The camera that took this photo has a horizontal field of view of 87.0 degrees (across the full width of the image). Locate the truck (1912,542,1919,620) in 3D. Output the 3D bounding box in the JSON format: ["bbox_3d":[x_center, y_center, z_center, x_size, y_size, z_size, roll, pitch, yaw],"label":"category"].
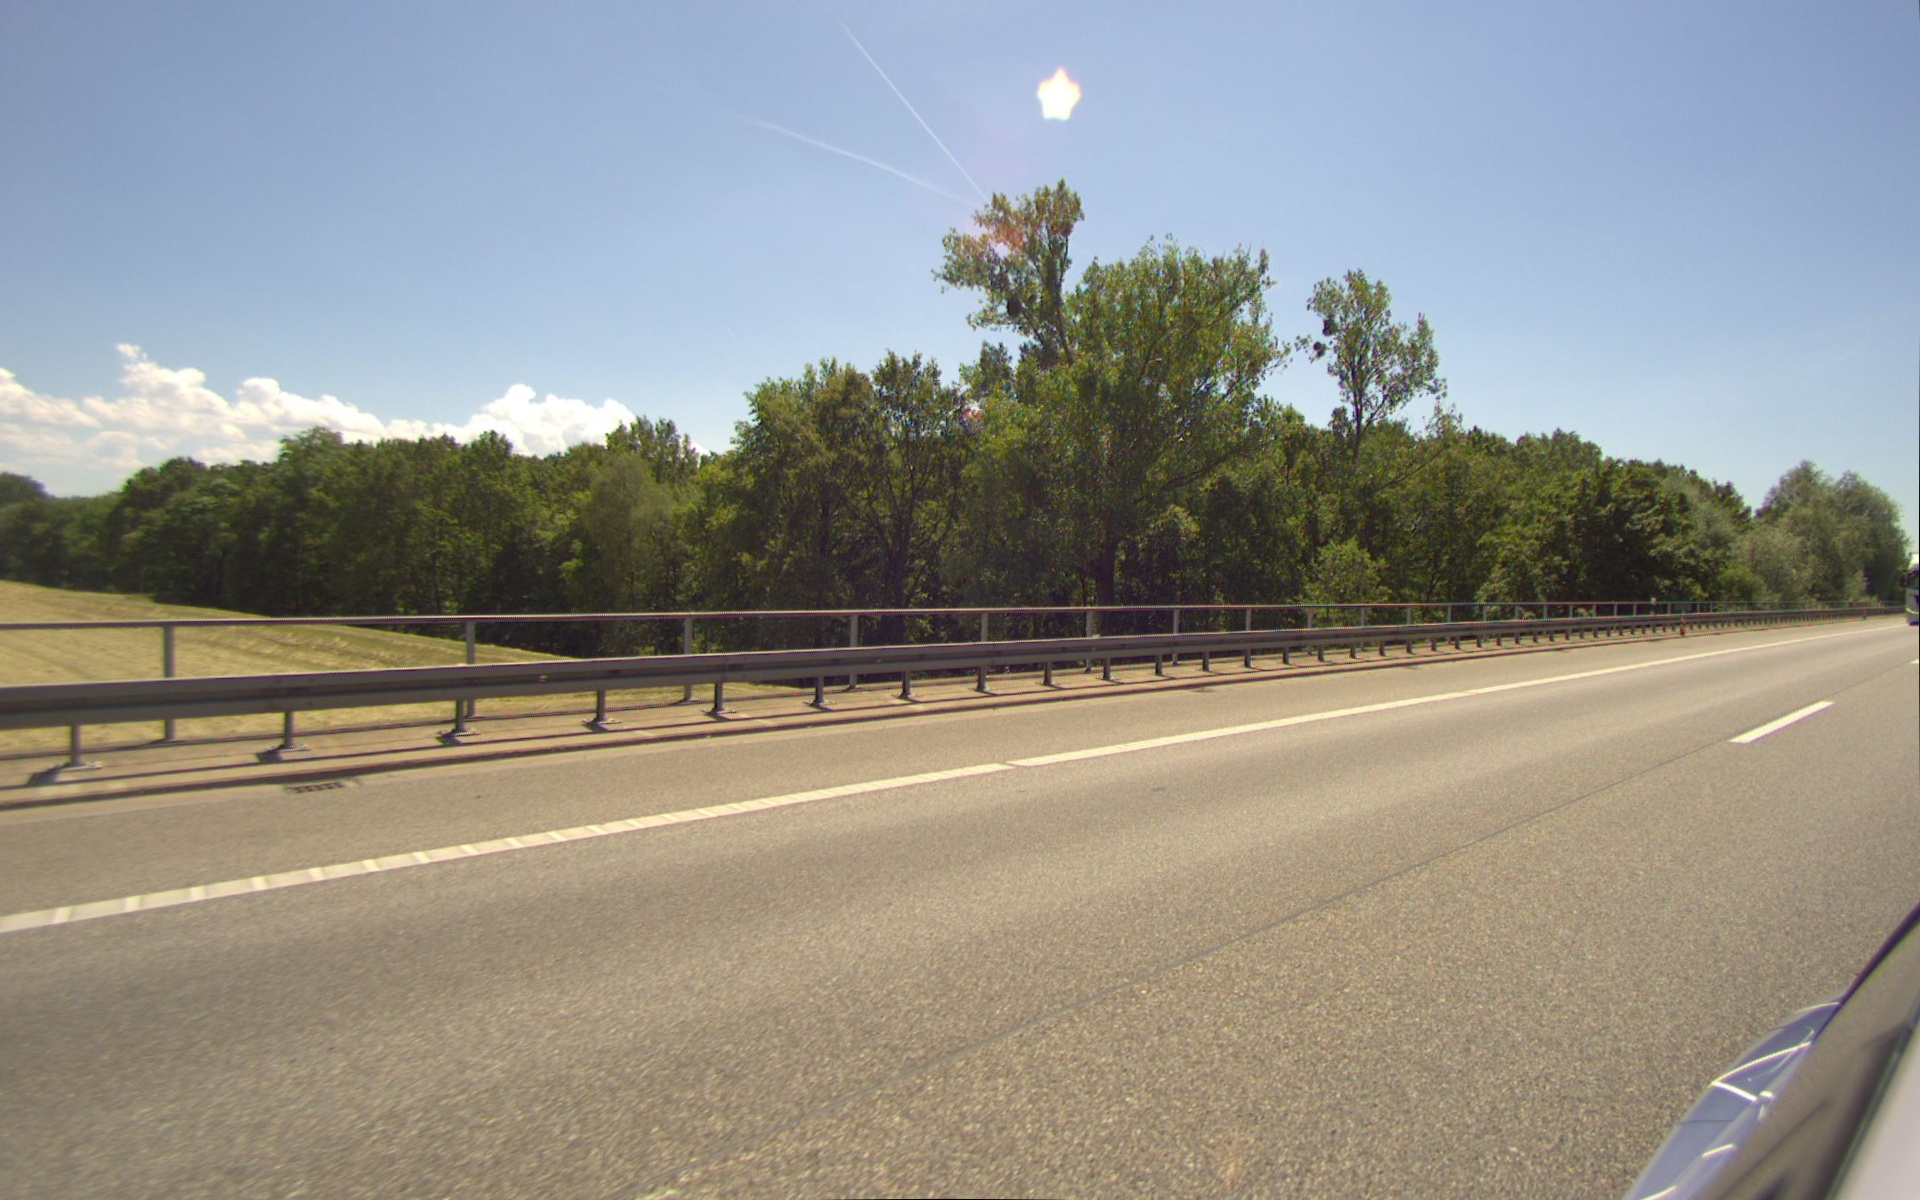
[{"bbox_3d":[56.160,-1.014,57.030,10.269,4.216,2.817,0,0,-42],"label":"truck"}]
